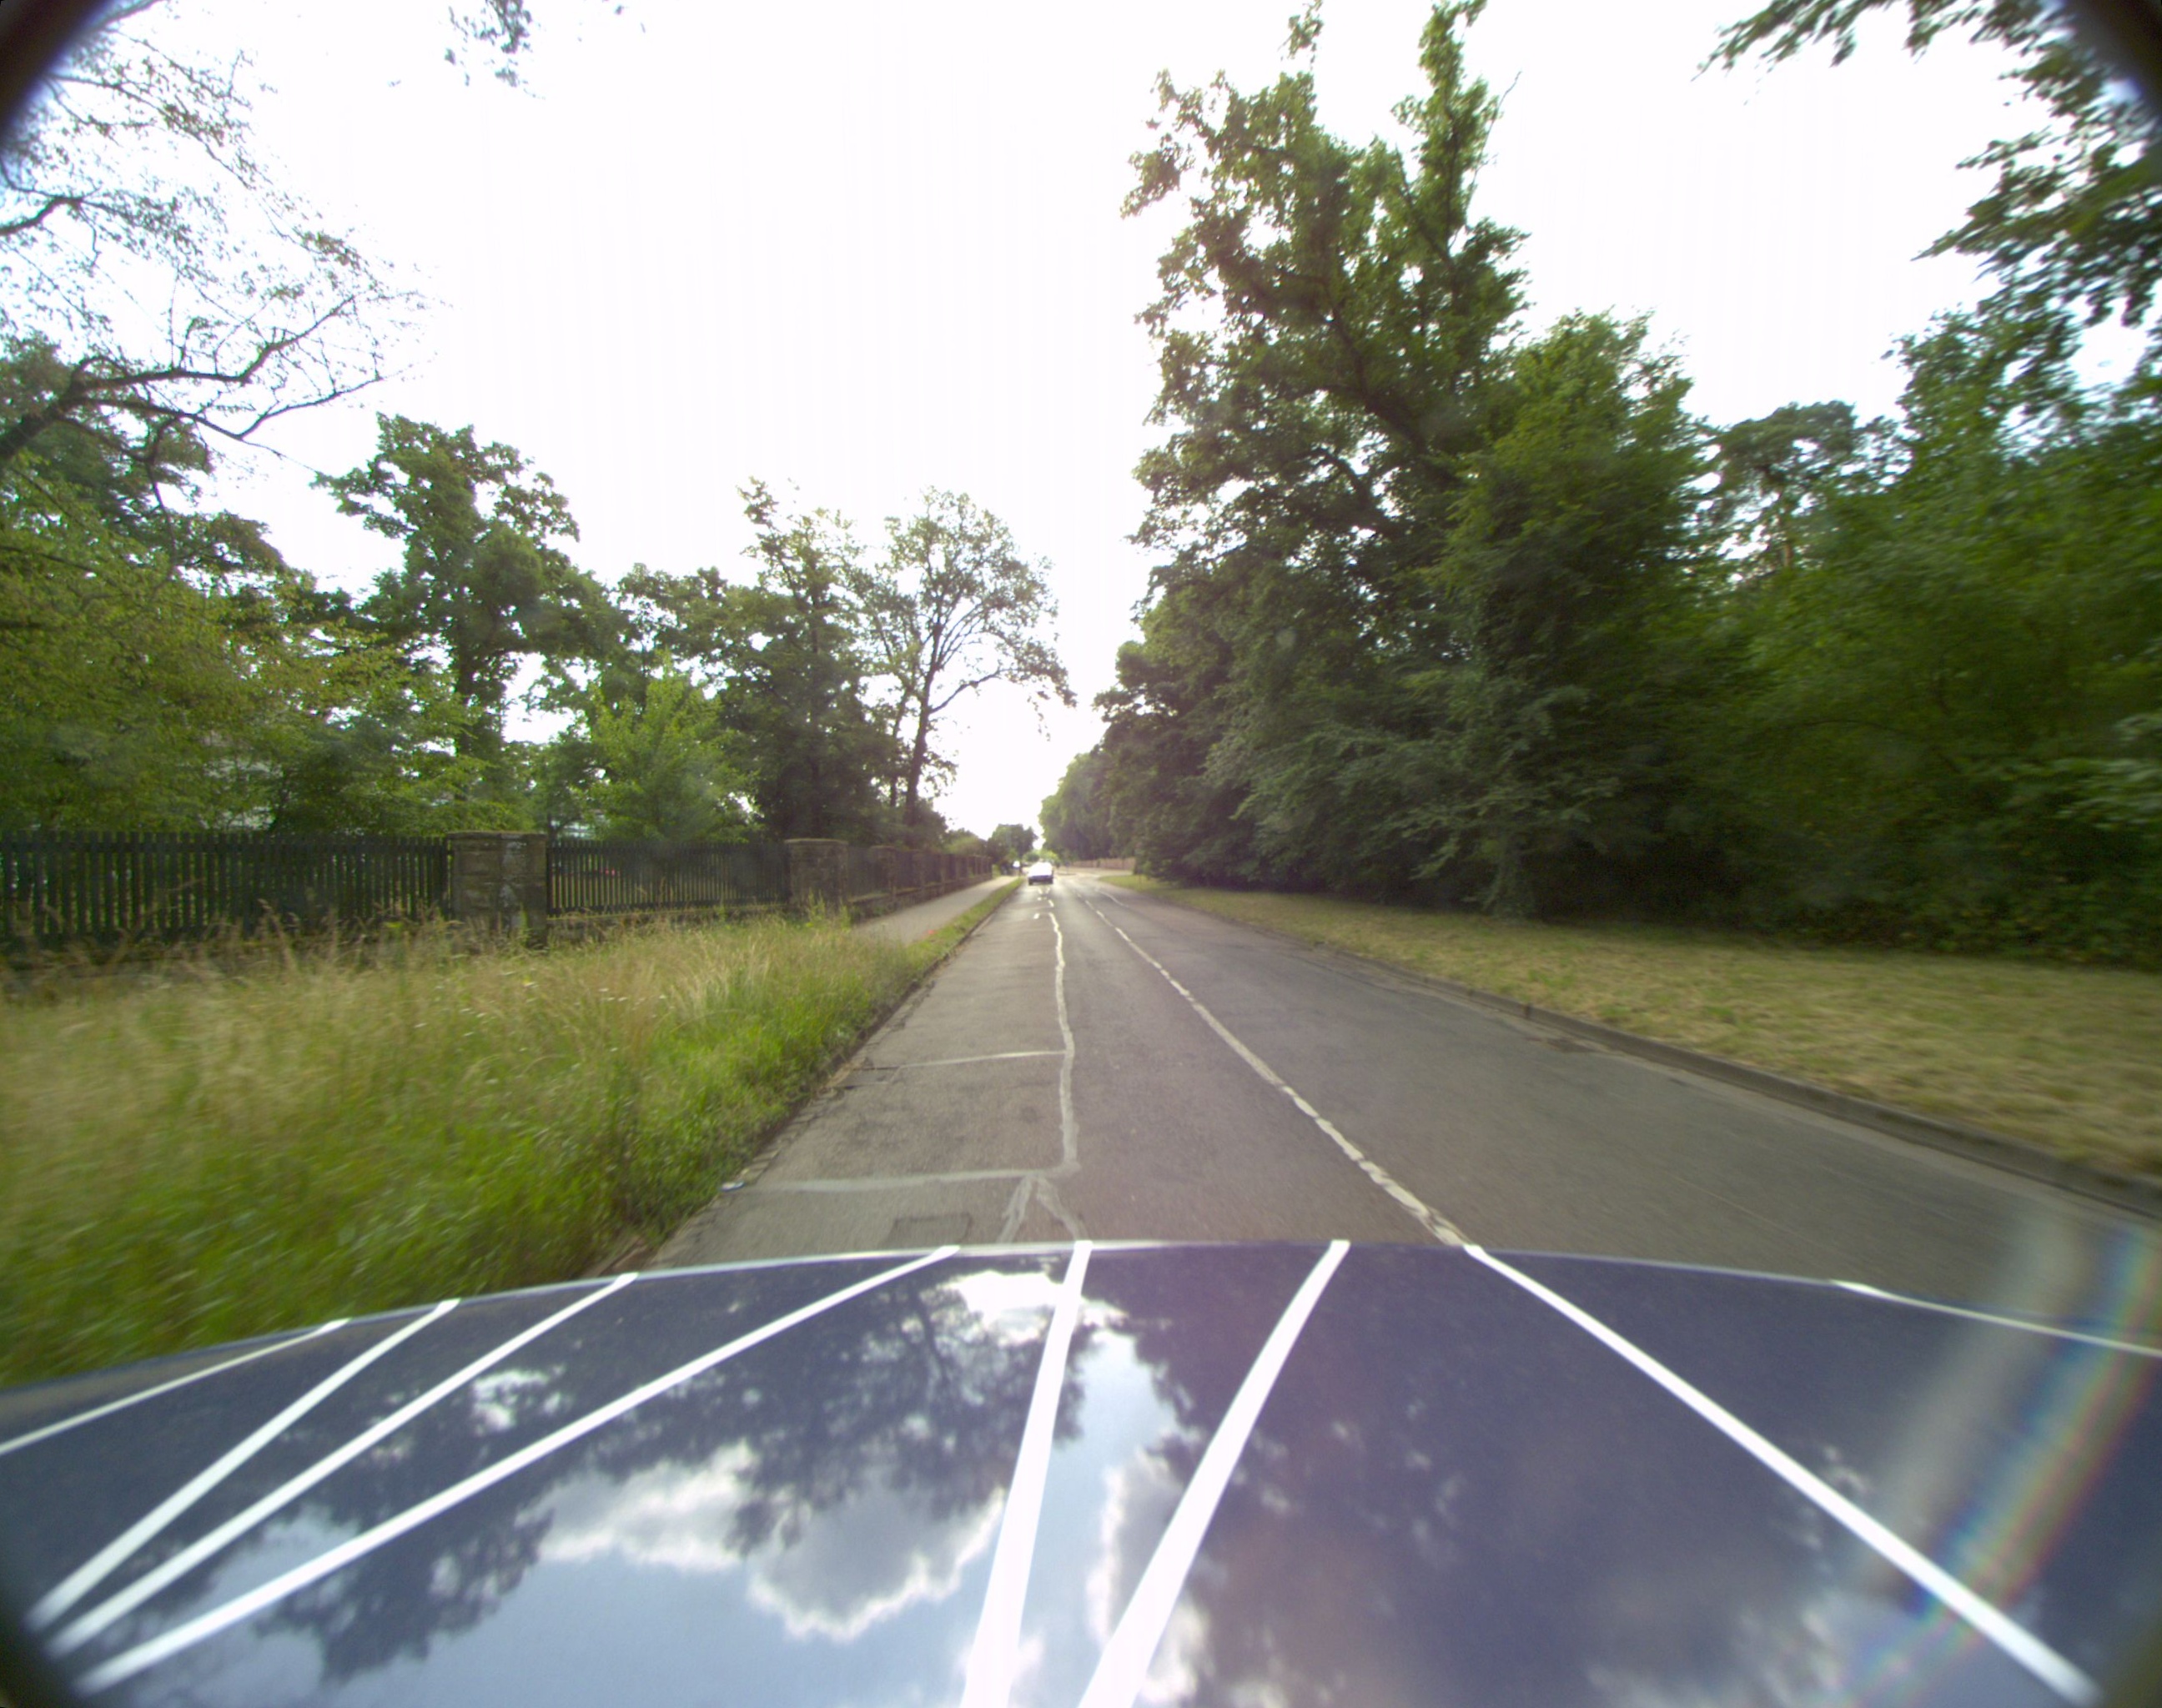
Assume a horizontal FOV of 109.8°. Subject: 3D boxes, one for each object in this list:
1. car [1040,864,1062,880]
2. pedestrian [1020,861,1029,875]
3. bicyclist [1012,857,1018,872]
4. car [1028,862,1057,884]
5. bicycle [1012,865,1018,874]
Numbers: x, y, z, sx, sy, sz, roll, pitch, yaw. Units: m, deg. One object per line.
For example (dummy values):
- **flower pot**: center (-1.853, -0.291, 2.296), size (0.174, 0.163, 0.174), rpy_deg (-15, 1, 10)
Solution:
- **car**: center (-2.950, 1.787, 75.306), size (1.999, 1.455, 4.203), rpy_deg (-1, 0, -1)
- **pedestrian**: center (-6.615, 1.700, 89.286), size (0.832, 1.641, 0.626), rpy_deg (-1, -1, 14)
- **bicyclist**: center (-7.182, 1.128, 83.105), size (0.571, 1.578, 1.205), rpy_deg (0, -1, -3)
- **car**: center (-2.908, 1.425, 55.904), size (1.966, 1.455, 4.529), rpy_deg (-3, -2, -4)
- **bicycle**: center (-7.199, 1.697, 83.196), size (0.560, 1.066, 2.157), rpy_deg (0, -1, -3)
